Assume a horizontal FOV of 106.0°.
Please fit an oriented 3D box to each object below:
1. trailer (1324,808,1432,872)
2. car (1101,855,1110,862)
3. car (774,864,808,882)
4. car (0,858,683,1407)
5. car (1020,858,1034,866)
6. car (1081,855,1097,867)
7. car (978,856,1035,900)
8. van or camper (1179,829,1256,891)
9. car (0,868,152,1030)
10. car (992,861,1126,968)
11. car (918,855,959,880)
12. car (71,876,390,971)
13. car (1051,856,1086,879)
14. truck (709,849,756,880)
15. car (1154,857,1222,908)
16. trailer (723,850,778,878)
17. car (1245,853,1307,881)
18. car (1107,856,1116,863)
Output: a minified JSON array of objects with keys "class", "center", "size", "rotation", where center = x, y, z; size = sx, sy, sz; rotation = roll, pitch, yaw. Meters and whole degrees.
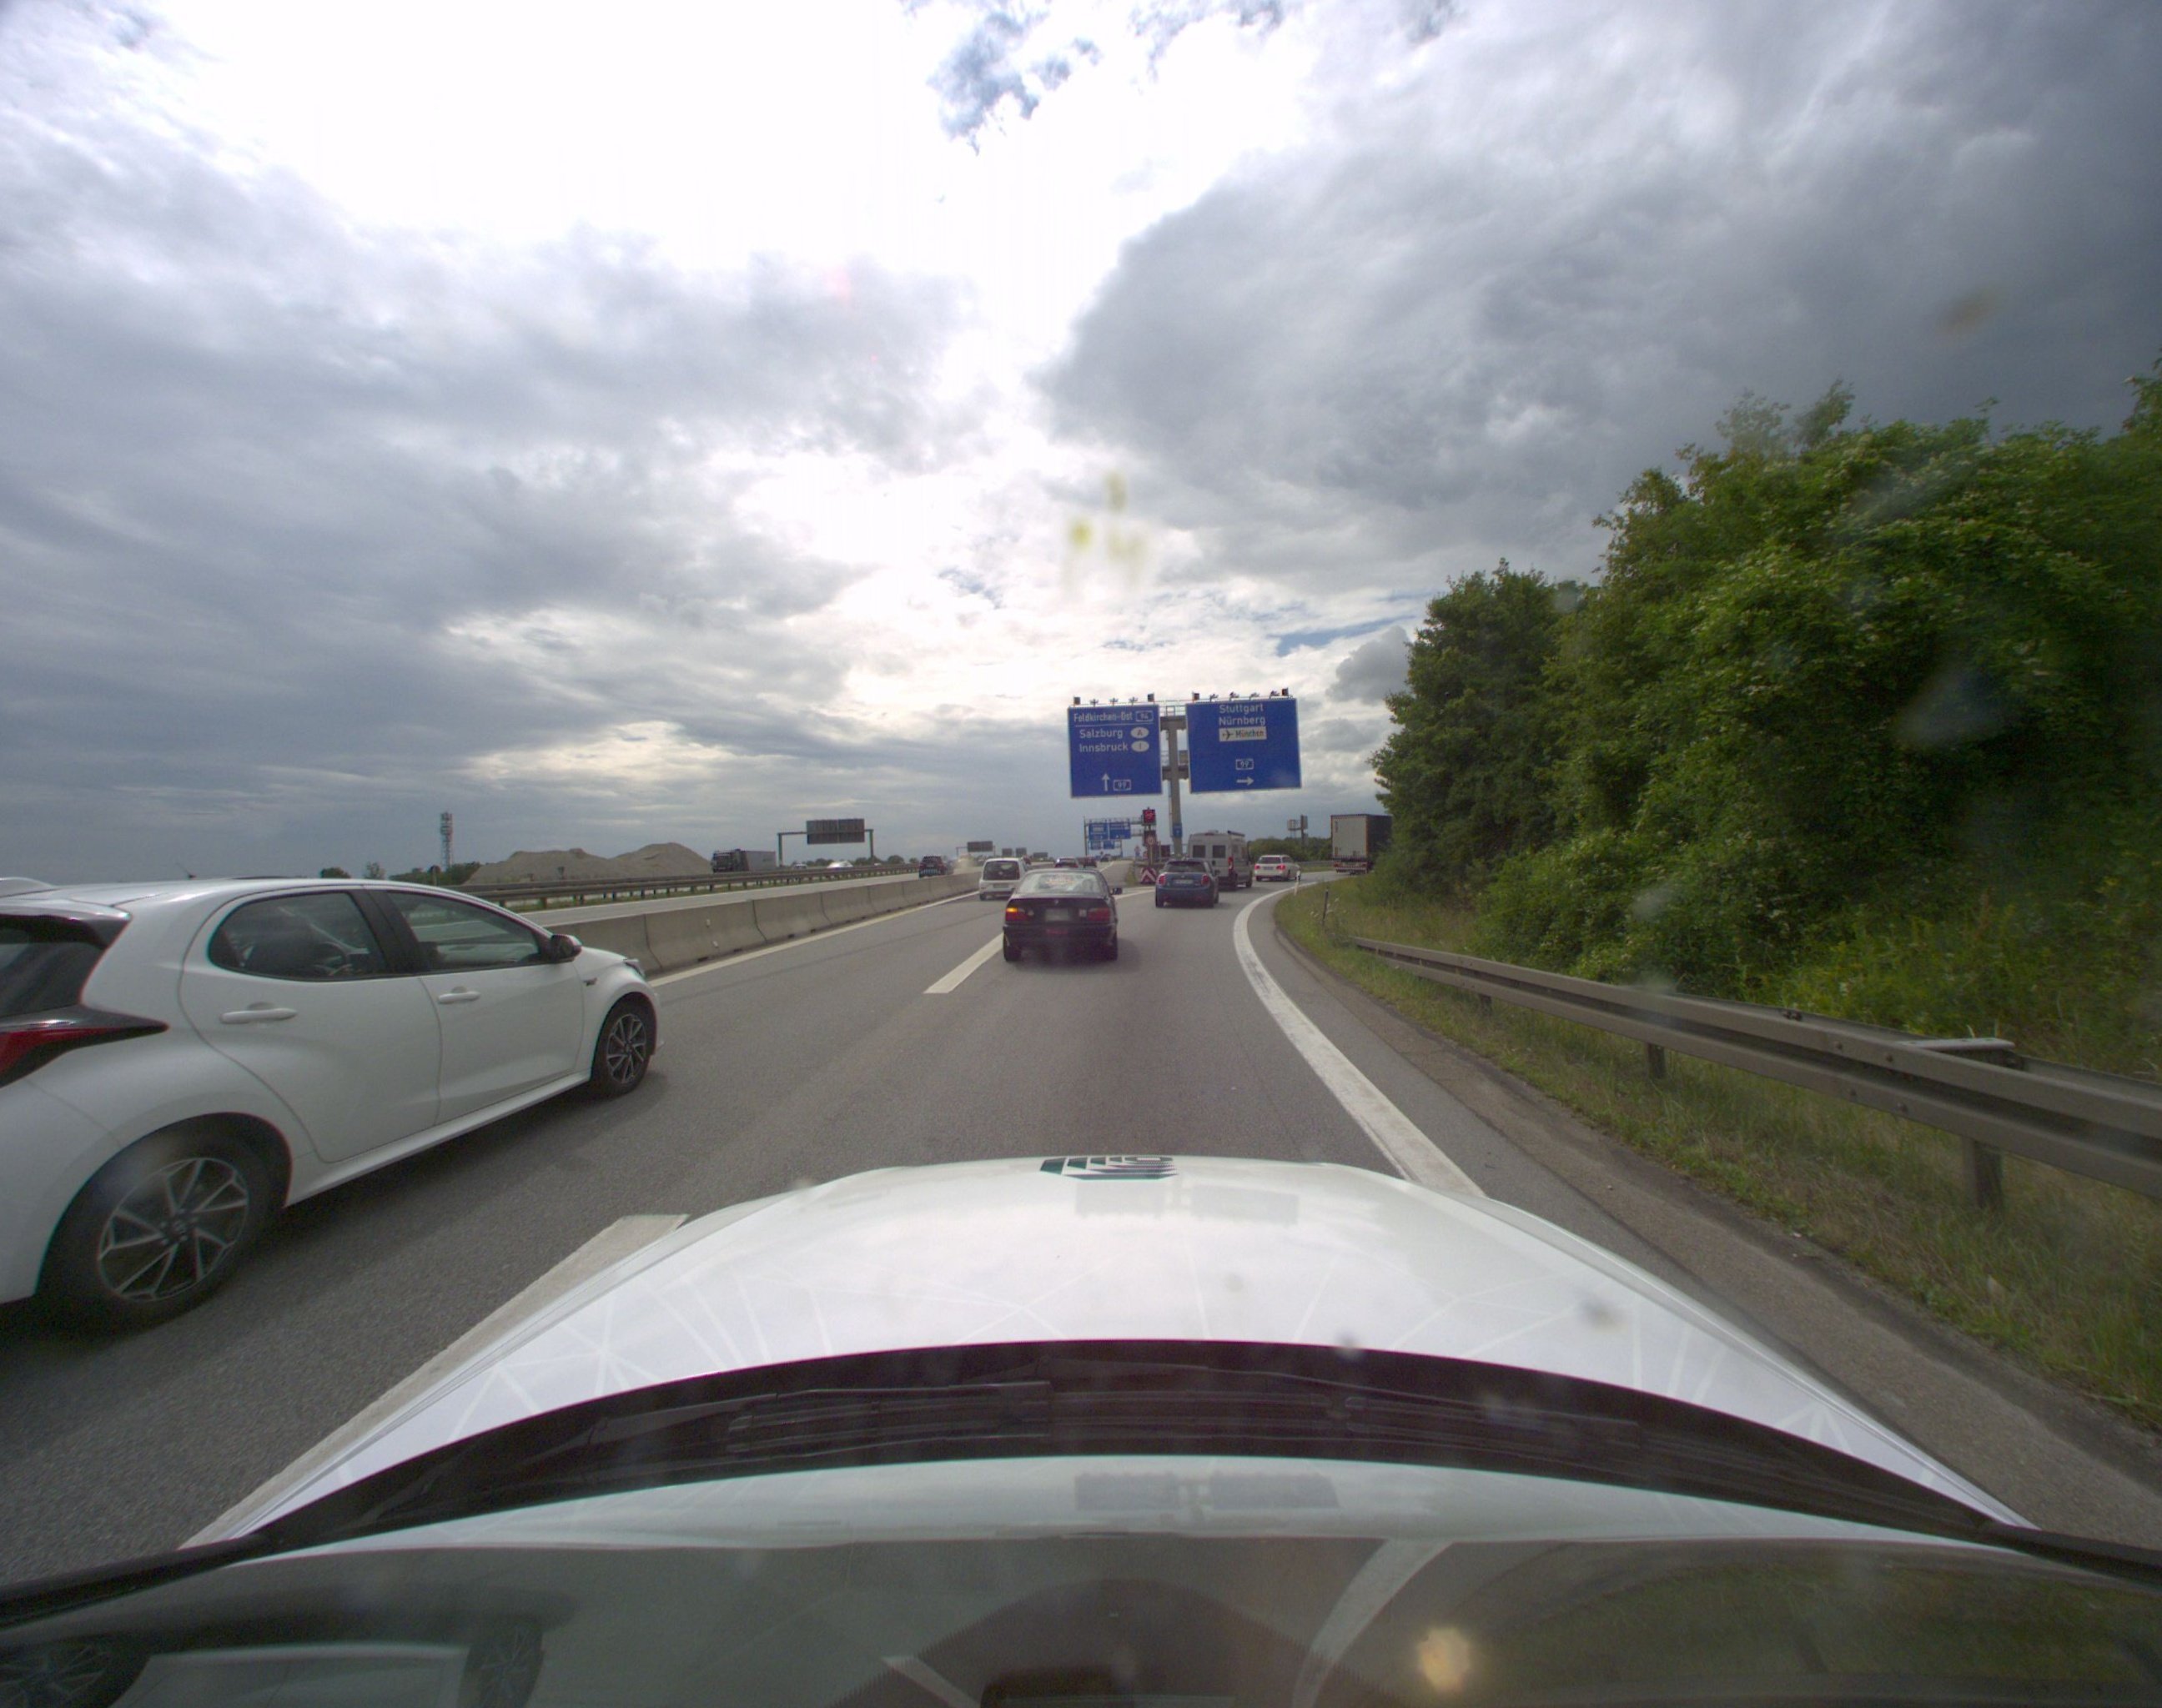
[{"class":"trailer","center":[21.893,-0.922,59.261],"size":[3.298,4.193,13.115],"rotation":[-1,0,39]},{"class":"car","center":[5.018,0.982,167.833],"size":[1.795,1.424,4.004],"rotation":[-1,0,3]},{"class":"car","center":[-26.460,1.738,74.362],"size":[1.682,1.469,4.003],"rotation":[-3,0,-1]},{"class":"car","center":[-3.808,0.798,4.009],"size":[1.695,1.508,3.841],"rotation":[-1,0,1]},{"class":"car","center":[-9.510,1.396,143.563],"size":[1.985,1.468,4.004],"rotation":[-1,0,3]},{"class":"car","center":[0.994,0.883,99.829],"size":[1.859,1.424,4.002],"rotation":[-1,0,2]},{"class":"car","center":[-2.659,0.835,29.734],"size":[1.579,1.484,3.537],"rotation":[-1,0,2]},{"class":"van or camper","center":[6.311,0.241,36.884],"size":[2.274,2.568,6.191],"rotation":[-2,0,20]},{"class":"car","center":[-11.283,0.942,7.066],"size":[1.767,1.530,4.001],"rotation":[-2,0,1]},{"class":"car","center":[-0.211,0.838,13.065],"size":[1.775,1.378,4.139],"rotation":[-1,0,2]},{"class":"car","center":[-10.419,0.953,59.848],"size":[1.986,1.683,4.868],"rotation":[-1,0,2]},{"class":"car","center":[-15.103,1.142,14.830],"size":[1.547,1.376,4.001],"rotation":[-1,0,1]},{"class":"car","center":[-0.823,0.869,55.764],"size":[1.984,1.468,4.006],"rotation":[-1,0,5]},{"class":"truck","center":[-40.117,1.186,93.842],"size":[3.142,3.330,5.617],"rotation":[-1,0,-2]},{"class":"car","center":[3.354,0.810,25.035],"size":[1.717,1.419,3.678],"rotation":[-1,0,12]},{"class":"trailer","center":[-40.417,1.183,99.953],"size":[3.190,3.269,9.813],"rotation":[-1,0,-3]},{"class":"car","center":[11.284,0.705,46.881],"size":[2.185,1.501,4.817],"rotation":[-2,0,29]},{"class":"car","center":[7.159,1.276,190.382],"size":[1.795,1.424,4.004],"rotation":[-1,0,3]}]
